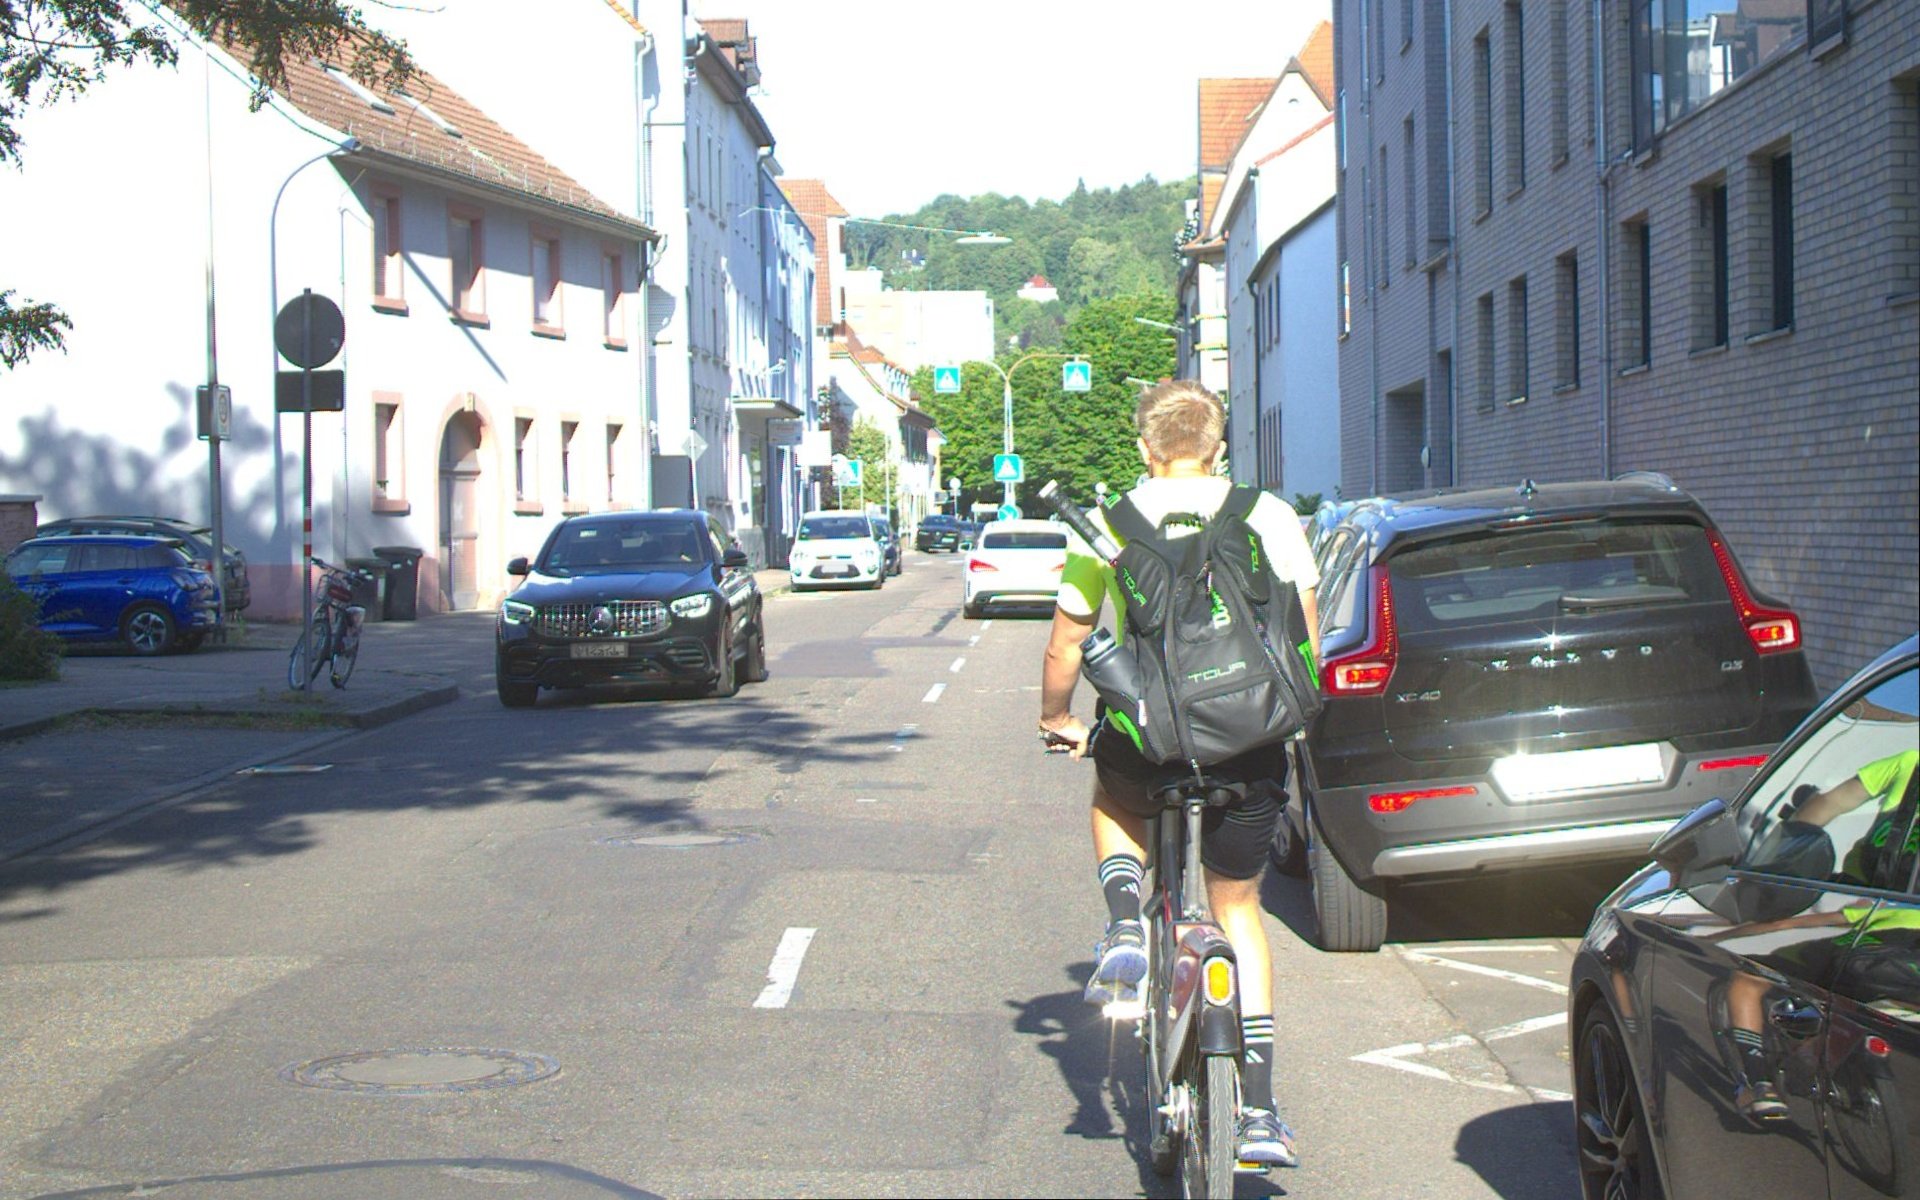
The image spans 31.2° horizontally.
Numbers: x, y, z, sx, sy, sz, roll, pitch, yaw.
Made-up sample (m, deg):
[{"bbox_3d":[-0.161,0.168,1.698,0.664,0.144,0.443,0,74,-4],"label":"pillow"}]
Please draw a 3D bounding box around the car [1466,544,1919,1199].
[{"bbox_3d":[2.133,0.667,5.428,1.696,1.462,4.721,-3,1,-3],"label":"car"}]

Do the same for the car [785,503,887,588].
[{"bbox_3d":[-2.519,-1.157,70.852,1.993,1.642,5.222,-1,2,-1],"label":"car"}]

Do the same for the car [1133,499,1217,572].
[{"bbox_3d":[4.766,-1.458,76.708,1.741,1.487,4.439,-3,1,3],"label":"car"}]

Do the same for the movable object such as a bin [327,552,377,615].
[{"bbox_3d":[-8.595,-0.235,48.611,0.598,0.869,0.606,-1,1,0],"label":"movable object such as a bin"}]

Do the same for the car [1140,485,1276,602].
[{"bbox_3d":[3.808,-0.915,53.341,1.855,1.630,4.623,-3,2,2],"label":"car"}]

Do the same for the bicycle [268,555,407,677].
[{"bbox_3d":[-5.374,0.123,29.768,0.704,0.999,1.941,0,1,5],"label":"bicycle"}]

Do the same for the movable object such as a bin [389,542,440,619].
[{"bbox_3d":[-7.881,-0.284,49.698,0.598,1.090,0.751,0,1,2],"label":"movable object such as a bin"}]

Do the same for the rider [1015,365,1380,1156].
[{"bbox_3d":[0.483,0.318,7.400,0.653,1.556,1.083,2,0,0],"label":"rider"}]

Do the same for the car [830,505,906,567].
[{"bbox_3d":[-2.316,-1.619,87.392,1.731,1.494,3.959,-2,1,1],"label":"car"}]

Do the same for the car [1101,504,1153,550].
[{"bbox_3d":[6.850,-3.022,141.429,2.011,1.846,4.000,0,2,1],"label":"car"}]

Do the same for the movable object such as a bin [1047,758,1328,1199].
[{"bbox_3d":[0.465,0.917,7.602,0.454,1.029,1.840,2,0,0],"label":"movable object such as a bin"}]

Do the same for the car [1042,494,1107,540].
[{"bbox_3d":[3.871,-2.798,115.932,1.994,1.461,4.000,-1,1,4],"label":"car"}]

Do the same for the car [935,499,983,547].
[{"bbox_3d":[-0.045,-3.333,147.494,1.993,2.006,4.000,-1,2,0],"label":"car"}]

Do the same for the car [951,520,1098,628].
[{"bbox_3d":[0.895,-0.415,50.034,1.993,1.461,4.000,-1,1,0],"label":"car"}]

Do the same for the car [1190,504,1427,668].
[{"bbox_3d":[3.473,-0.196,35.020,1.993,1.500,4.367,-1,2,1],"label":"car"}]

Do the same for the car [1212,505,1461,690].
[{"bbox_3d":[3.256,-0.076,30.419,1.712,1.399,4.073,-5,2,1],"label":"car"}]

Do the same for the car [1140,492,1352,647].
[{"bbox_3d":[3.293,-0.415,40.448,1.993,1.647,4.763,-1,2,-1],"label":"car"}]

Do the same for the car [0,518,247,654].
[{"bbox_3d":[-10.956,-0.175,42.488,3.768,1.524,2.000,-2,2,2],"label":"car"}]

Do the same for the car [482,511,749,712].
[{"bbox_3d":[-2.904,0.042,29.852,1.939,1.570,4.320,-1,1,-1],"label":"car"}]

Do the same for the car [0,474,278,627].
[{"bbox_3d":[-11.585,-0.702,46.201,4.363,1.788,1.988,2,4,3],"label":"car"}]

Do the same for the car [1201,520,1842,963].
[{"bbox_3d":[2.058,0.432,13.798,1.816,1.461,4.270,-1,1,0],"label":"car"}]

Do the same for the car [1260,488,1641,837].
[{"bbox_3d":[2.702,0.246,19.770,1.890,1.706,4.773,-1,2,5],"label":"car"}]
